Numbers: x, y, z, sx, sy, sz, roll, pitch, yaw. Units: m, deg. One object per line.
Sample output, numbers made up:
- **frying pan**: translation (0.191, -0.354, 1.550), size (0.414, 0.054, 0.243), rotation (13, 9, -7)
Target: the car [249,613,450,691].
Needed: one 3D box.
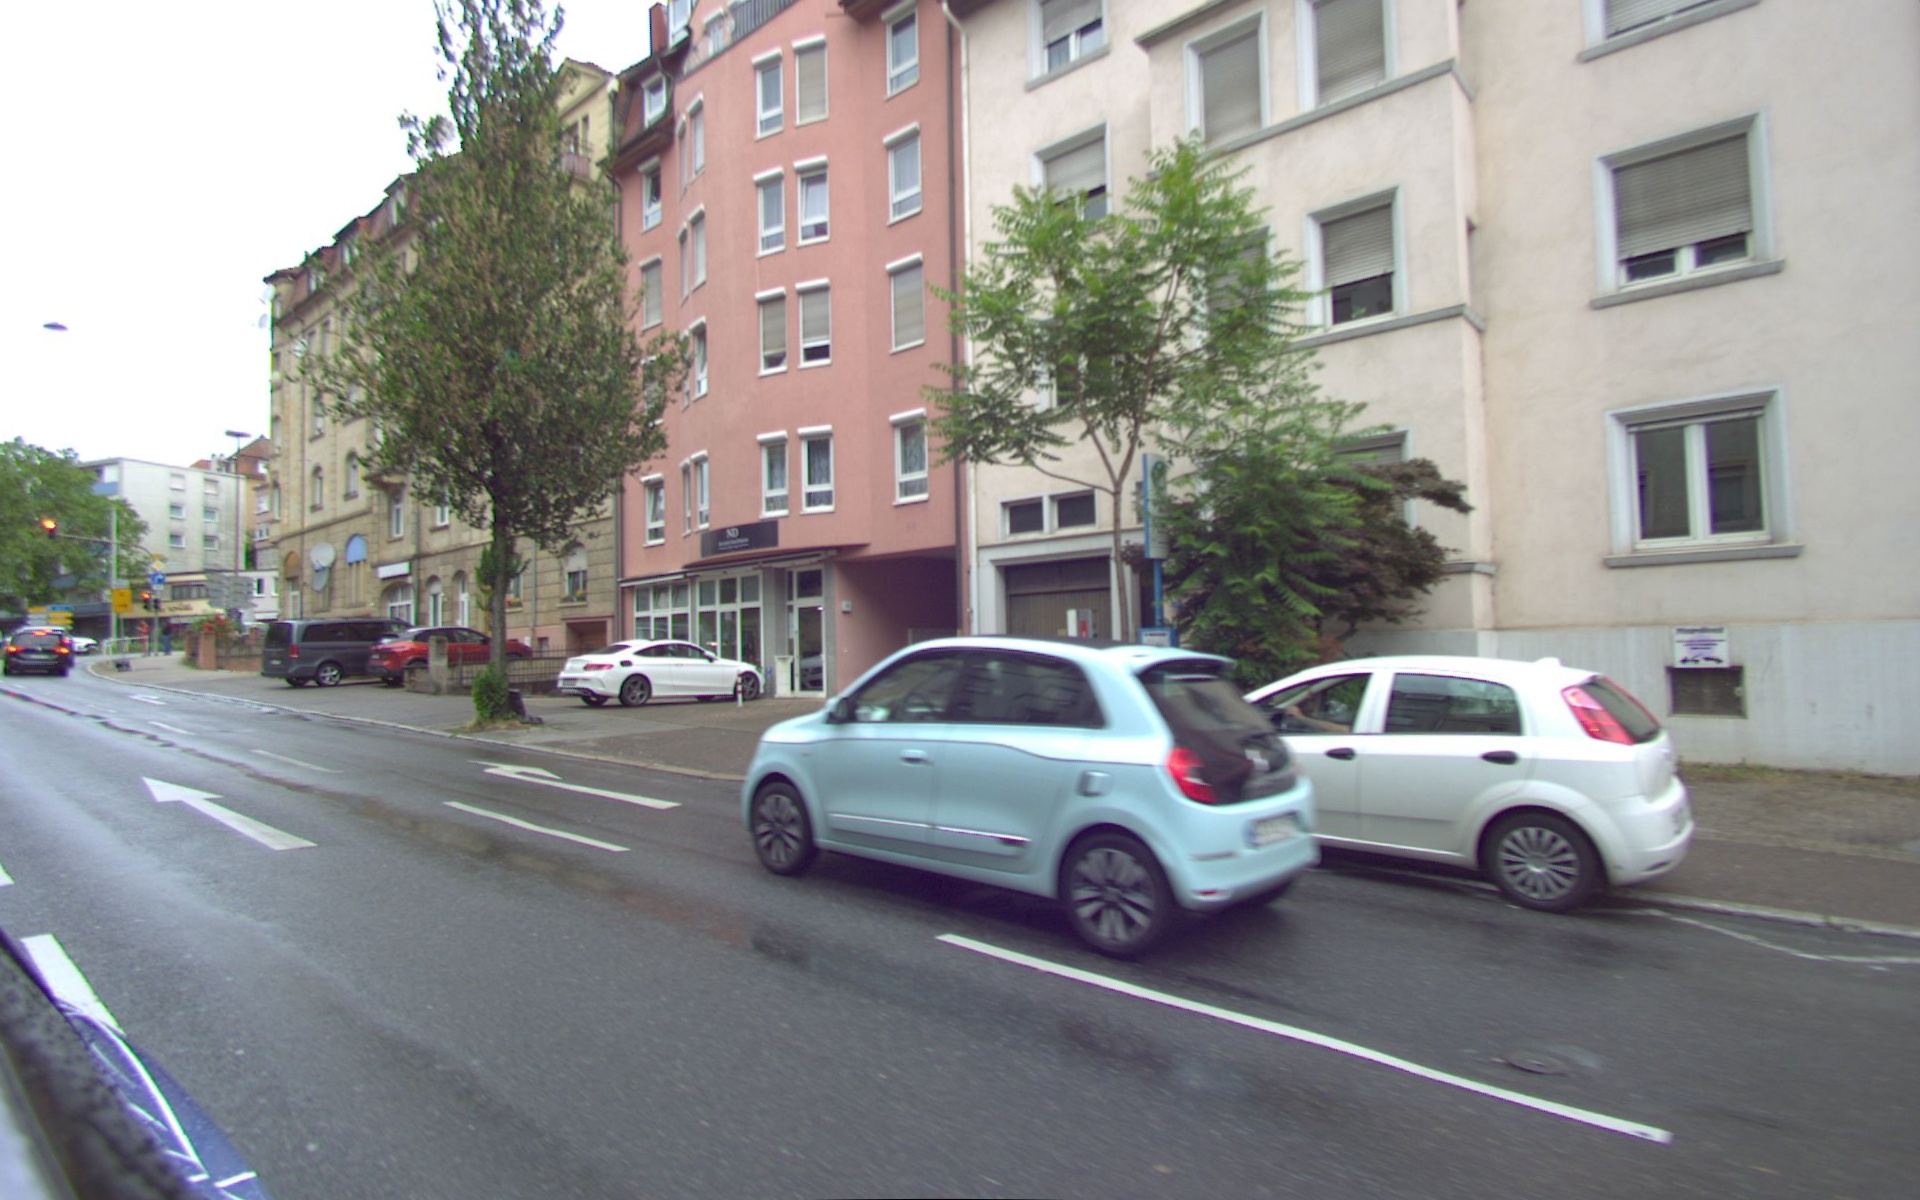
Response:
- **car**: translation (-17.531, 1.439, 29.317), size (1.857, 1.953, 4.640), rotation (-2, -1, 31)

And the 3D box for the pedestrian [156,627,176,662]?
- **pedestrian**: translation (-39.180, 2.196, 49.960), size (0.829, 1.715, 0.629), rotation (-3, -1, 43)

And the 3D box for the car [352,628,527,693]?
- **car**: translation (-14.877, 1.669, 29.090), size (1.896, 1.602, 4.055), rotation (-1, 0, 40)

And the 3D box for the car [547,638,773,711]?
- **car**: translation (-6.427, 1.573, 22.099), size (1.766, 1.412, 4.501), rotation (-2, -4, 40)

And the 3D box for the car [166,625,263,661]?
- **car**: translation (-45.528, 2.579, 61.877), size (1.912, 2.029, 4.455), rotation (-2, -1, 36)

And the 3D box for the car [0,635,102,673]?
- **car**: translation (-53.756, 3.145, 59.698), size (4.381, 2.029, 1.921), rotation (-1, -1, -13)

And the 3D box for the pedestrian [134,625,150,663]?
- **pedestrian**: translation (-38.921, 2.104, 48.153), size (0.516, 1.787, 0.694), rotation (-1, -1, -43)

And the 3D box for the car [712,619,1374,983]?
- **car**: translation (0.316, 0.938, 6.119), size (3.752, 1.520, 1.619), rotation (-2, -5, 41)

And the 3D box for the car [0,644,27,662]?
- **car**: translation (-82.205, 4.531, 86.270), size (1.790, 1.426, 3.697), rotation (-1, 0, 7)

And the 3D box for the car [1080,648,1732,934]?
- **car**: translation (2.964, 1.095, 7.296), size (4.004, 1.457, 1.603), rotation (-2, -3, 42)

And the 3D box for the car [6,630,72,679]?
- **car**: translation (-33.528, 1.978, 36.824), size (1.601, 1.662, 4.424), rotation (5, -5, -43)
